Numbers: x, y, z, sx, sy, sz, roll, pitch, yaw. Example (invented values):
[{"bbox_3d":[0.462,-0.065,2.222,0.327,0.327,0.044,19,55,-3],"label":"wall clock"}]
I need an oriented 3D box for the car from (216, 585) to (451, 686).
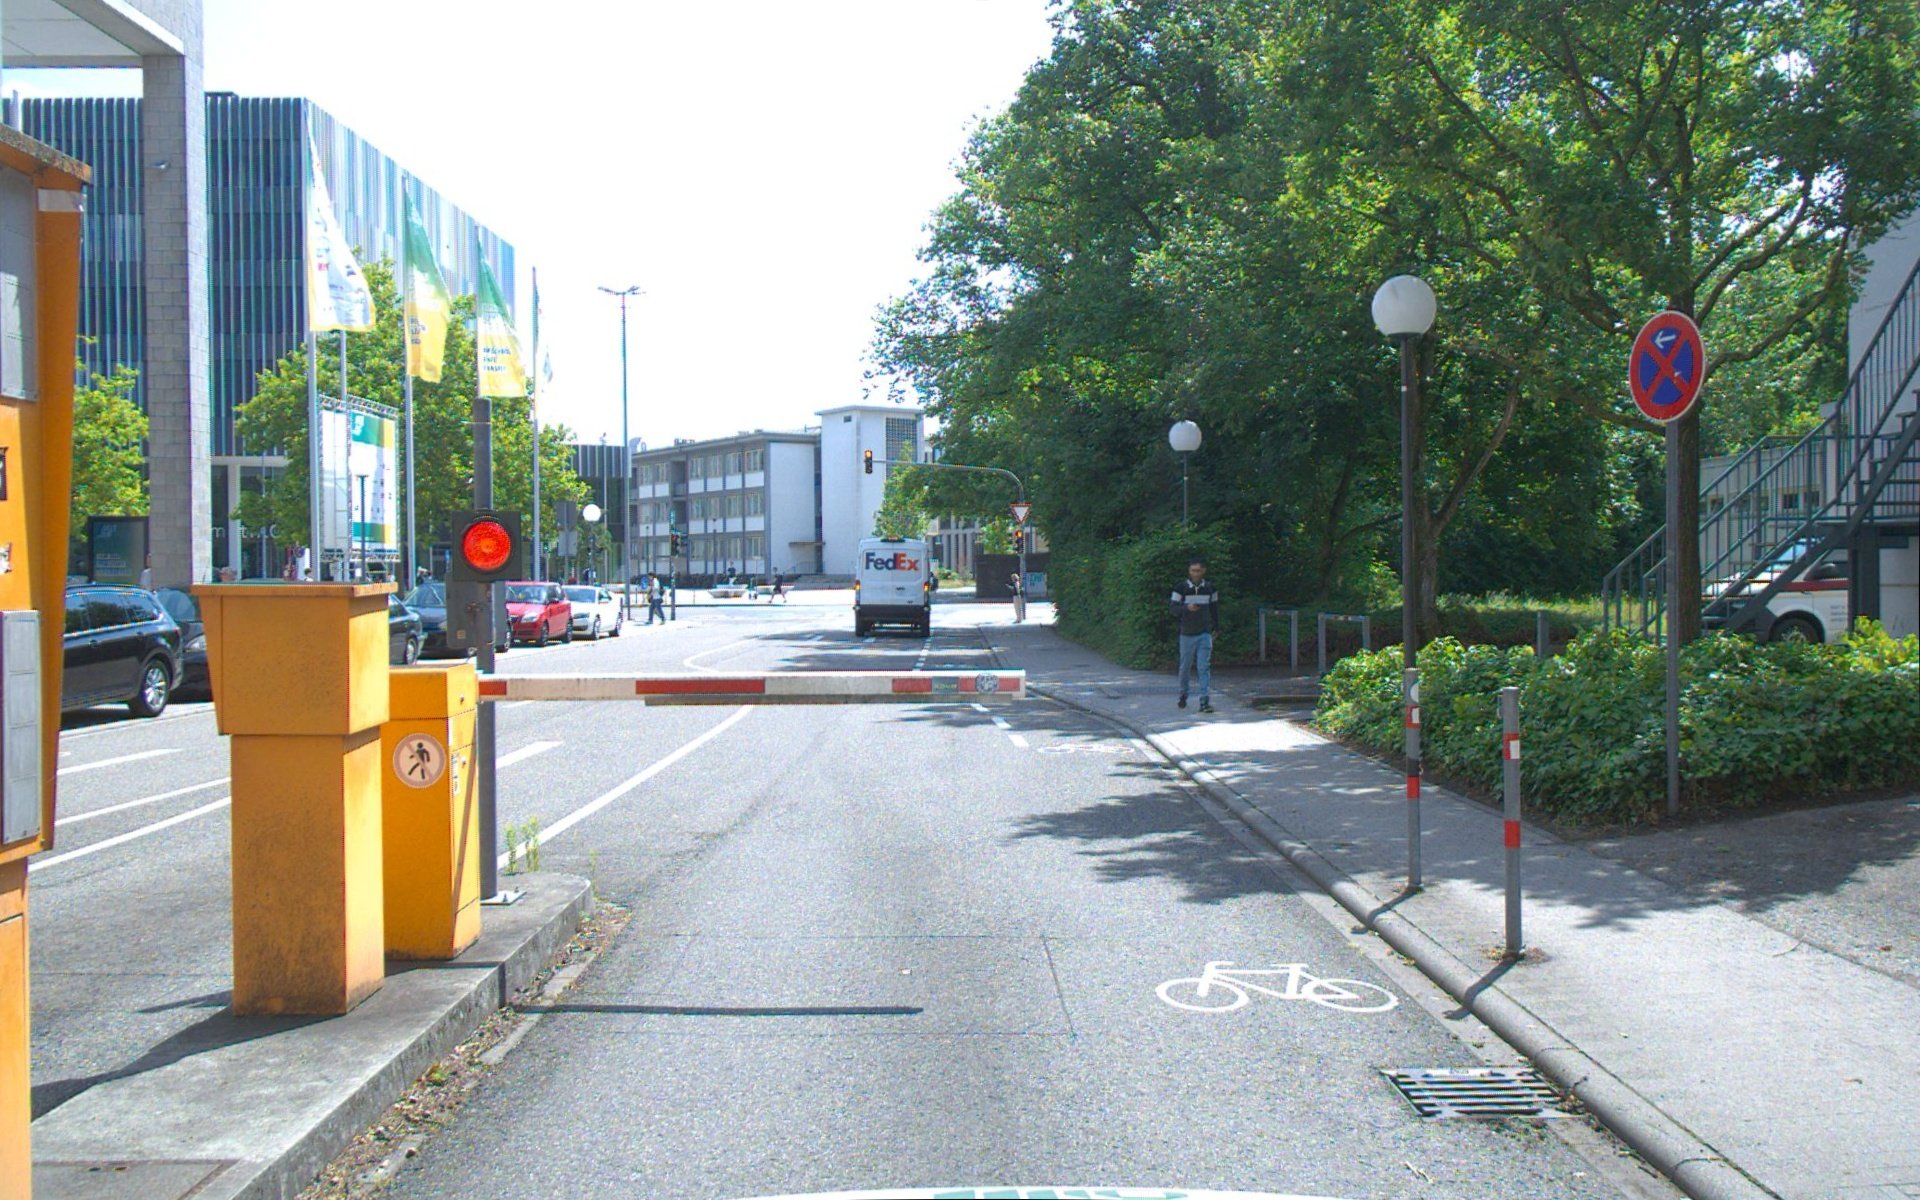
[{"bbox_3d":[-10.091,0.512,27.100,1.821,1.402,5.017,1,1,1],"label":"car"}]

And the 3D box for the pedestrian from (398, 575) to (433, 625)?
[{"bbox_3d":[-21.232,-0.019,64.484,0.835,1.909,1.006,-1,1,22],"label":"pedestrian"}]

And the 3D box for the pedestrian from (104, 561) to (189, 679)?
[{"bbox_3d":[-14.518,0.343,29.546,0.965,2.049,1.164,-1,1,-5],"label":"pedestrian"}]

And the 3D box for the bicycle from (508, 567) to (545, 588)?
[{"bbox_3d":[-26.962,-1.385,102.861,1.188,1.259,2.912,0,1,-37],"label":"bicycle"}]

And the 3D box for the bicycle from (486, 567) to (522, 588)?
[{"bbox_3d":[-27.985,-1.365,101.400,1.188,1.259,2.913,0,1,-37],"label":"bicycle"}]

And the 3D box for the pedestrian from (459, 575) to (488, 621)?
[{"bbox_3d":[-17.401,-0.071,59.121,0.754,1.625,0.799,-1,1,1],"label":"pedestrian"}]

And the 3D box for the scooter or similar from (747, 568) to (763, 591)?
[{"bbox_3d":[-11.166,-1.116,90.081,0.704,1.198,2.718,-1,1,-11],"label":"scooter or similar"}]

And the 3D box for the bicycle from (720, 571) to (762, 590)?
[{"bbox_3d":[-16.202,-1.421,122.472,2.935,1.387,1.102,-1,1,-38],"label":"bicycle"}]

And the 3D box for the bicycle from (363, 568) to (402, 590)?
[{"bbox_3d":[-33.653,-1.248,96.311,1.363,1.259,2.912,0,1,-37],"label":"bicycle"}]

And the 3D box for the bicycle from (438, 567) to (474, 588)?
[{"bbox_3d":[-30.158,-1.350,99.011,1.188,1.259,2.913,0,1,-36],"label":"bicycle"}]

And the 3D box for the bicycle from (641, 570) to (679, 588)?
[{"bbox_3d":[-24.202,-1.699,133.444,2.935,1.387,1.102,-1,1,-38],"label":"bicycle"}]

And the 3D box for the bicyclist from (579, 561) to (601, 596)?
[{"bbox_3d":[-19.661,-1.144,87.960,0.772,1.848,1.000,-1,1,9],"label":"bicyclist"}]

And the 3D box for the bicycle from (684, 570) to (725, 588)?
[{"bbox_3d":[-19.627,-1.636,126.976,2.935,1.387,1.102,-1,1,-38],"label":"bicycle"}]

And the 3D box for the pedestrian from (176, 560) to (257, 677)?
[{"bbox_3d":[-13.403,0.314,29.862,0.965,2.049,1.164,-1,1,-5],"label":"pedestrian"}]

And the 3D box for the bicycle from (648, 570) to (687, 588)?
[{"bbox_3d":[-23.310,-1.676,131.969,2.935,1.387,1.102,-1,1,-38],"label":"bicycle"}]

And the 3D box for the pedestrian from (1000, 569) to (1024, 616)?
[{"bbox_3d":[1.758,-0.263,56.129,0.717,1.603,0.775,0,1,-5],"label":"pedestrian"}]

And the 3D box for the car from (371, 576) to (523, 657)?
[{"bbox_3d":[-10.479,0.287,34.081,1.712,1.492,4.197,1,1,1],"label":"car"}]

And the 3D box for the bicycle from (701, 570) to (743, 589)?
[{"bbox_3d":[-17.973,-1.565,124.816,2.935,1.387,1.258,-1,1,-38],"label":"bicycle"}]

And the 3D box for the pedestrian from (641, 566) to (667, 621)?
[{"bbox_3d":[-10.561,-0.238,57.033,0.704,1.891,0.770,-1,1,1],"label":"pedestrian"}]

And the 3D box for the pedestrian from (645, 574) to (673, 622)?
[{"bbox_3d":[-10.553,-0.069,58.001,0.826,1.680,0.746,-1,1,1],"label":"pedestrian"}]

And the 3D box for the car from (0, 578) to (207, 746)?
[{"bbox_3d":[-9.841,0.557,17.257,1.821,1.492,4.718,1,1,-1],"label":"car"}]

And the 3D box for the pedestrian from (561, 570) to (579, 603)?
[{"bbox_3d":[-20.235,-0.711,85.733,0.738,1.707,0.755,-1,1,-1],"label":"pedestrian"}]

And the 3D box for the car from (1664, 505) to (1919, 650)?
[{"bbox_3d":[13.415,-0.363,24.936,4.726,2.049,2.062,-1,1,0],"label":"car"}]

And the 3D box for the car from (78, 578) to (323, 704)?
[{"bbox_3d":[-10.096,0.485,22.288,1.605,1.492,3.707,1,1,-1],"label":"car"}]

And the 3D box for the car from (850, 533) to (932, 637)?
[{"bbox_3d":[-1.813,-0.453,45.182,2.052,2.611,5.601,-1,1,-1],"label":"car"}]

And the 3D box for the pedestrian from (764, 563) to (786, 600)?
[{"bbox_3d":[-9.801,-0.985,87.593,1.059,1.903,0.832,-1,1,-2],"label":"pedestrian"}]

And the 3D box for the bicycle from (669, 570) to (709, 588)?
[{"bbox_3d":[-21.172,-1.637,129.071,2.935,1.387,1.102,-1,1,-38],"label":"bicycle"}]

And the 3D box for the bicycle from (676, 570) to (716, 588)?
[{"bbox_3d":[-20.410,-1.649,128.025,2.935,1.387,1.102,-1,1,-38],"label":"bicycle"}]

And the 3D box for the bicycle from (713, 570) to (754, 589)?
[{"bbox_3d":[-16.937,-1.545,123.563,2.935,1.387,1.102,-1,1,-38],"label":"bicycle"}]

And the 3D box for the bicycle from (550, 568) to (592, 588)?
[{"bbox_3d":[-24.576,-1.407,104.447,2.901,1.259,1.192,1,1,45],"label":"bicycle"}]

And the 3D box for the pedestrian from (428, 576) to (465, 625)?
[{"bbox_3d":[-19.814,0.017,63.809,0.844,1.850,1.096,0,1,23],"label":"pedestrian"}]

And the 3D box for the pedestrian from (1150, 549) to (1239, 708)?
[{"bbox_3d":[2.586,0.294,18.359,0.724,1.703,1.256,-1,1,-4],"label":"pedestrian"}]

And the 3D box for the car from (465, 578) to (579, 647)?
[{"bbox_3d":[-10.380,0.259,39.436,1.642,1.492,3.911,1,1,0],"label":"car"}]

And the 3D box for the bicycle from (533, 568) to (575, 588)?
[{"bbox_3d":[-25.422,-1.364,103.481,2.901,1.259,1.192,1,1,45],"label":"bicycle"}]

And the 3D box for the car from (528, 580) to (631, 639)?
[{"bbox_3d":[-10.177,0.212,44.551,1.642,1.419,4.663,1,1,0],"label":"car"}]

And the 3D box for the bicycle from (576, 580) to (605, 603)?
[{"bbox_3d":[-19.658,-0.453,88.002,0.754,1.141,2.028,-1,1,9],"label":"bicycle"}]

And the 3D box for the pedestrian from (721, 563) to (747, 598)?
[{"bbox_3d":[-13.290,-1.173,97.389,1.116,2.049,1.157,0,1,17],"label":"pedestrian"}]

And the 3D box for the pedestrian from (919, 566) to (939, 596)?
[{"bbox_3d":[-1.644,-1.010,88.026,0.812,1.550,0.810,-1,1,-20],"label":"pedestrian"}]

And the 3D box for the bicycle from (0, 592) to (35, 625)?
[{"bbox_3d":[-33.849,0.285,57.842,2.556,1.133,0.665,0,1,-3],"label":"bicycle"}]

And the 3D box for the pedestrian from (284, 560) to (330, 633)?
[{"bbox_3d":[-17.037,-0.100,43.152,0.704,1.883,1.089,1,1,3],"label":"pedestrian"}]

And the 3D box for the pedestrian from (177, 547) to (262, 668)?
[{"bbox_3d":[-12.800,0.114,28.617,0.965,2.049,1.164,-1,1,-5],"label":"pedestrian"}]

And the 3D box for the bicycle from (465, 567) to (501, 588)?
[{"bbox_3d":[-29.011,-1.354,100.606,1.188,1.259,2.913,0,1,-37],"label":"bicycle"}]
